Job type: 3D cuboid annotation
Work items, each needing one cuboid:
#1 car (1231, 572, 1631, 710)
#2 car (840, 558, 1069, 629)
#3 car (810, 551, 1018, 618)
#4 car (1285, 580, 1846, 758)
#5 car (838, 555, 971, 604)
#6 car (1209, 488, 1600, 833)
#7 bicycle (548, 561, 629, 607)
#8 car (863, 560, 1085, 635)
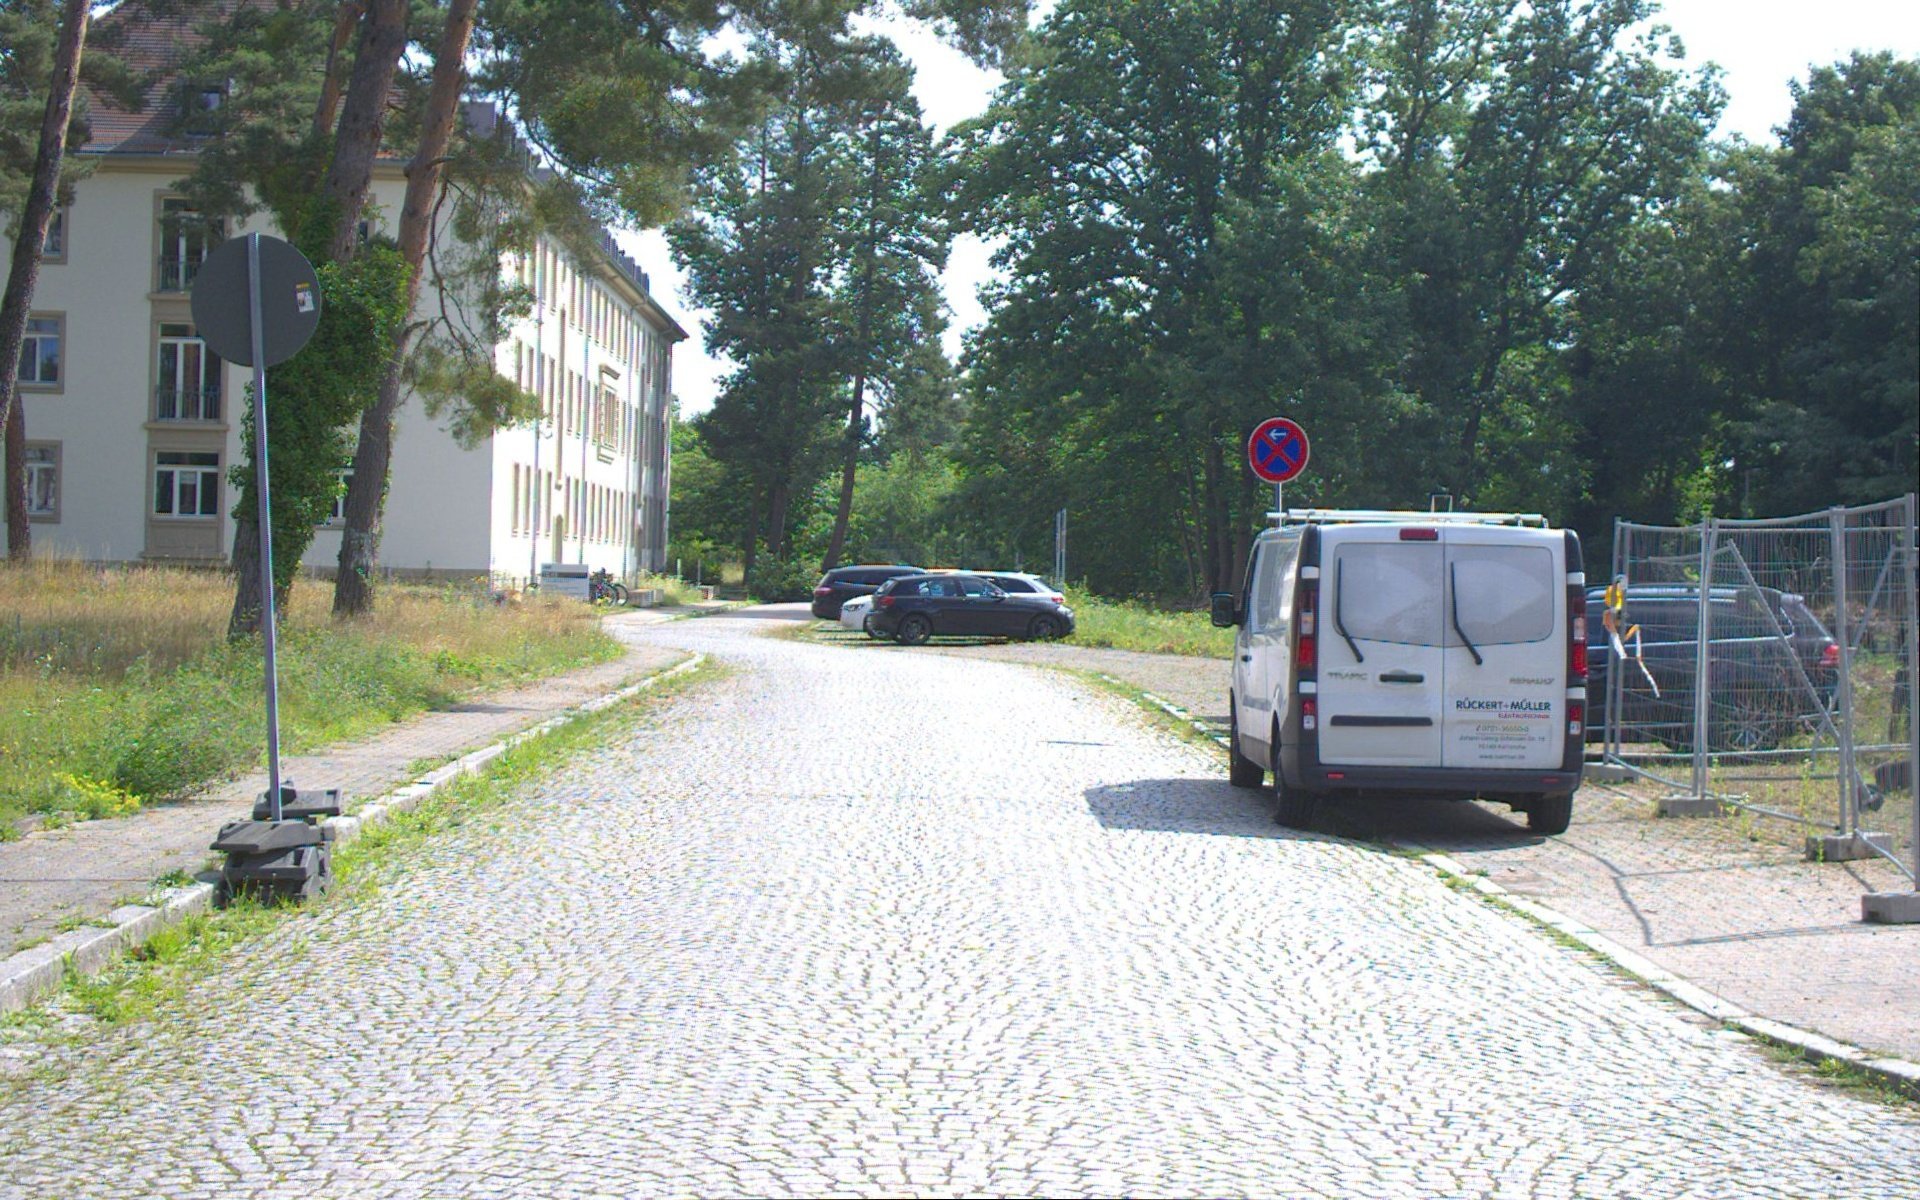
[{"bbox_3d":[5.064,0.425,37.284,4.041,1.459,1.704,0,0,-3],"label":"car"},{"bbox_3d":[-0.150,-0.155,74.010,4.861,1.467,1.875,0,1,-2],"label":"car"},{"bbox_3d":[-1.109,-0.353,81.354,4.852,1.547,1.880,0,0,-2],"label":"car"},{"bbox_3d":[5.158,0.568,29.610,4.453,1.470,1.746,0,0,-5],"label":"car"},{"bbox_3d":[-1.742,-0.661,109.479,4.187,1.538,1.820,0,0,1],"label":"car"},{"bbox_3d":[2.892,0.347,23.603,1.914,2.046,5.679,1,0,0],"label":"car"},{"bbox_3d":[-10.629,-0.468,98.370,2.222,1.256,0.623,1,0,2],"label":"bicycle"},{"bbox_3d":[0.273,-0.054,70.860,4.323,1.495,1.830,0,1,-9],"label":"car"}]
